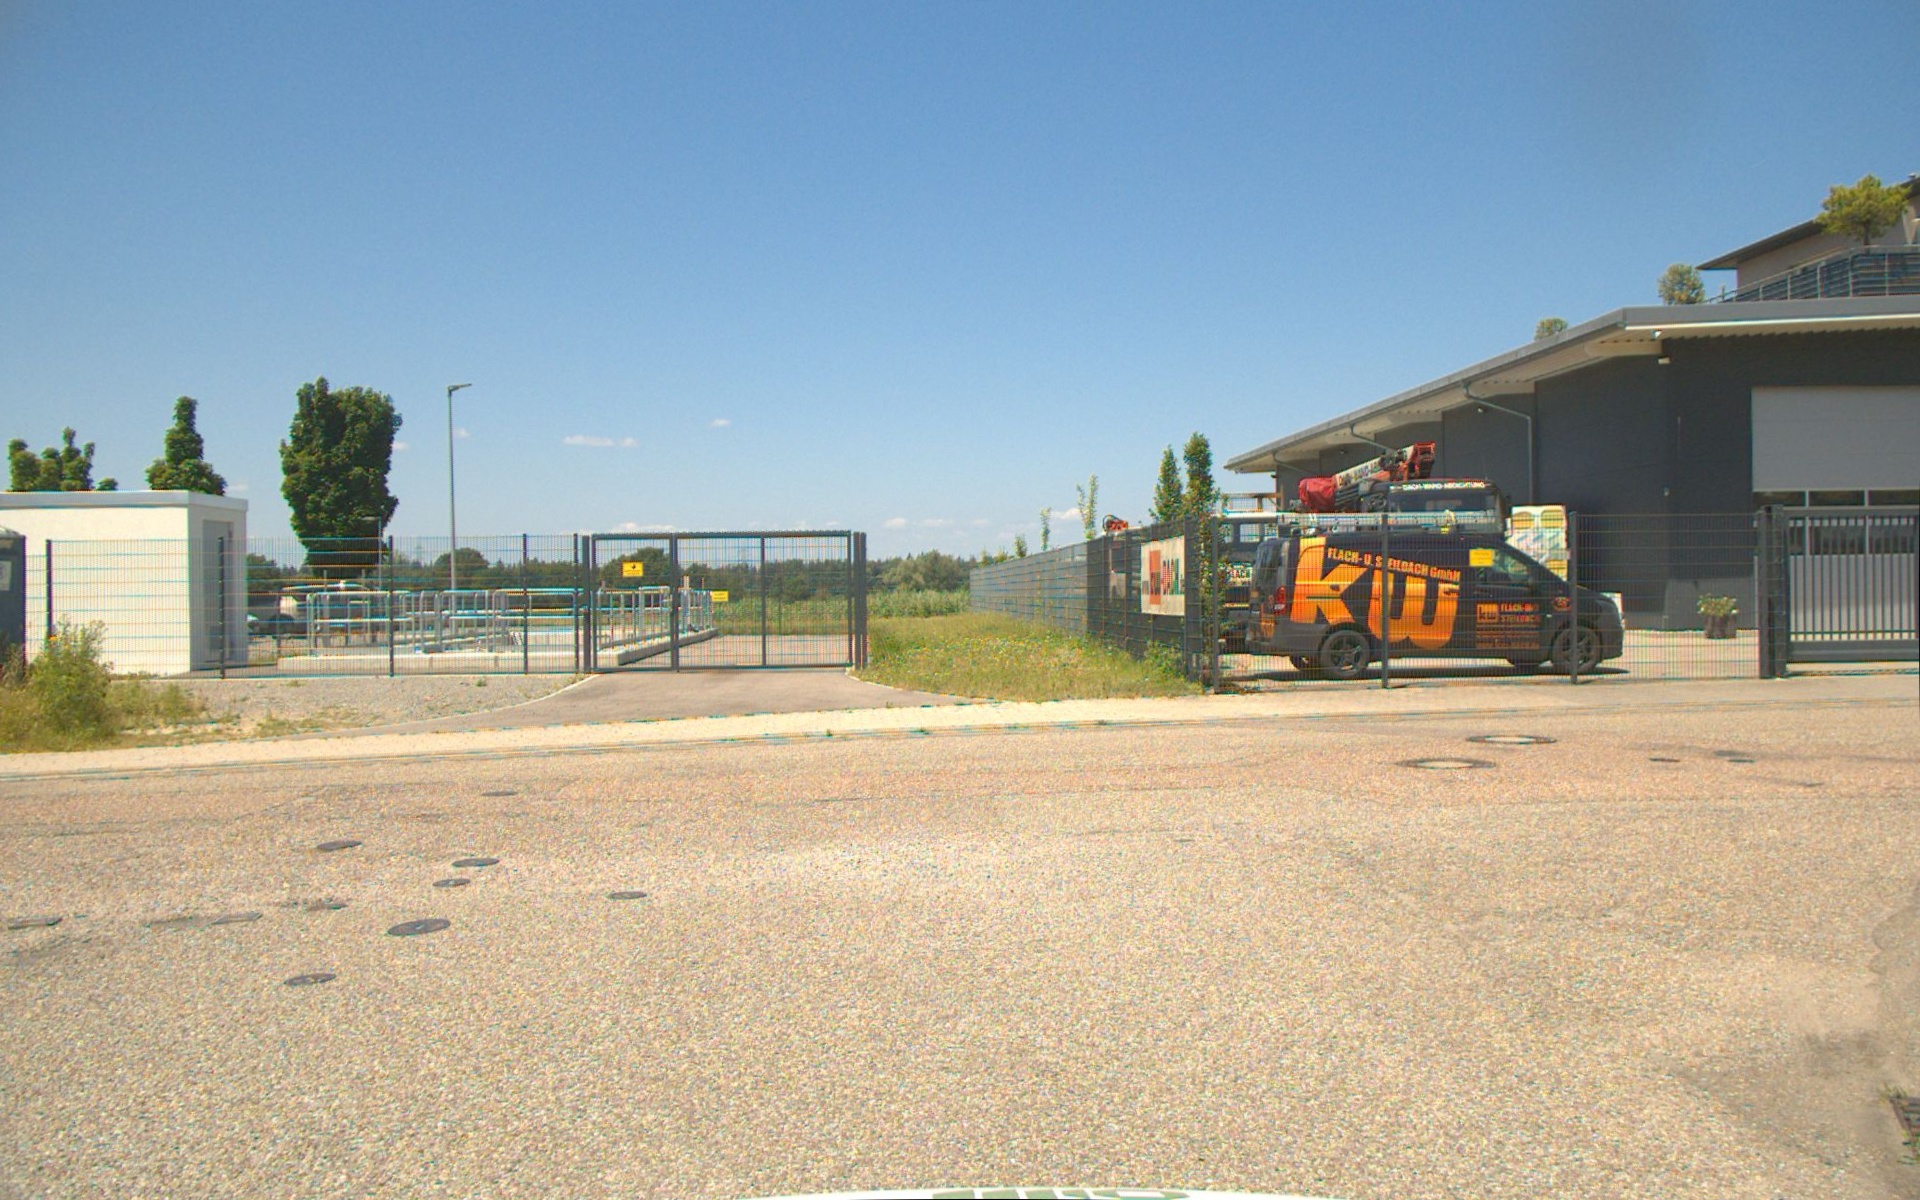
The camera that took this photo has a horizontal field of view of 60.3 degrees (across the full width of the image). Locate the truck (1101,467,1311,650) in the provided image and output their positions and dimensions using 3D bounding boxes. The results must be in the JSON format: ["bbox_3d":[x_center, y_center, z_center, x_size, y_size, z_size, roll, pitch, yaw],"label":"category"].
[{"bbox_3d":[4.548,-0.739,32.046,2.672,3.115,6.932,-1,0,-3],"label":"truck"}]

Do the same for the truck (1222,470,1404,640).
[{"bbox_3d":[8.951,-1.092,42.798,2.863,3.998,6.932,-1,0,-3],"label":"truck"}]

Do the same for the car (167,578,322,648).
[{"bbox_3d":[-22.141,0.374,51.301,3.907,2.049,1.999,-1,0,-2],"label":"car"}]

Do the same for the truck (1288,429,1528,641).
[{"bbox_3d":[9.255,-1.267,35.064,2.863,3.998,6.932,-1,0,-3],"label":"truck"}]

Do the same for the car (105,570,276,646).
[{"bbox_3d":[-21.930,0.203,47.255,3.907,2.049,1.999,-1,0,-2],"label":"car"}]

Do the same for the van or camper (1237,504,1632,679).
[{"bbox_3d":[6.433,-0.145,22.786,4.838,2.201,1.999,-1,1,-3],"label":"van or camper"}]

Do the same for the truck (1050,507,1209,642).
[{"bbox_3d":[4.029,-0.603,40.939,2.863,2.989,6.932,-1,0,-3],"label":"truck"}]
